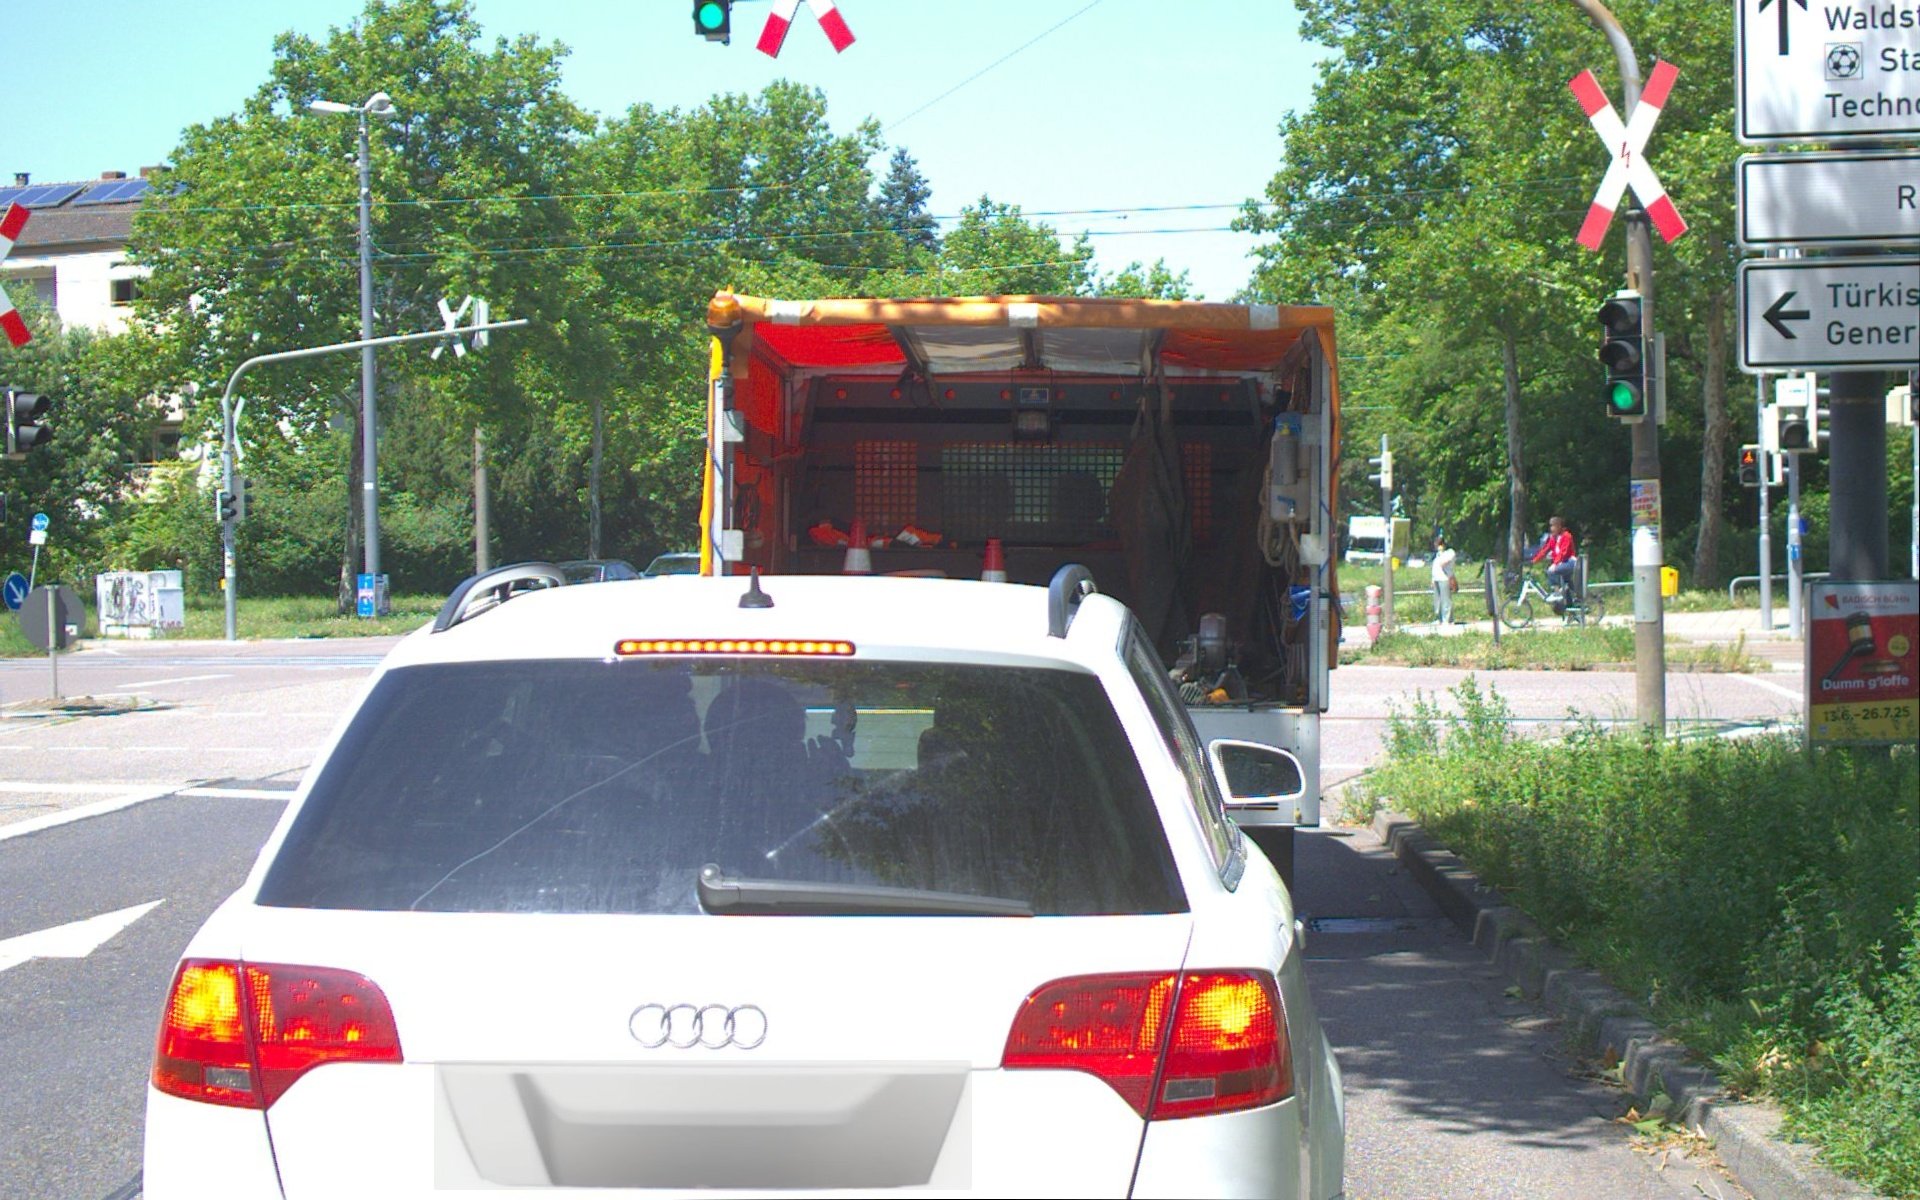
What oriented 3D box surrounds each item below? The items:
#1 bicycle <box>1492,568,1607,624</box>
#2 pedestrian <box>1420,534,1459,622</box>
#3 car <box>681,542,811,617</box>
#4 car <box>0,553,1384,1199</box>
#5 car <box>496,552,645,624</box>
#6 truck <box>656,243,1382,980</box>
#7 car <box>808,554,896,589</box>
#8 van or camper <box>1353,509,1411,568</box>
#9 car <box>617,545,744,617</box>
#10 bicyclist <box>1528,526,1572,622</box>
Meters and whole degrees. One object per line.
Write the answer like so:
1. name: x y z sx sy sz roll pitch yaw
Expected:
1. bicycle: 9.564 -0.070 55.819 1.806 0.892 0.589 0 0 8
2. pedestrian: 8.124 -0.374 58.287 0.553 1.479 0.629 -1 1 16
3. car: -4.575 -0.458 74.133 1.909 1.533 4.297 -1 1 8
4. car: -0.265 0.652 5.960 1.763 1.440 3.615 0 1 4
5. car: -8.286 -0.279 73.577 1.950 1.435 4.745 0 2 9
6. truck: 0.371 -0.008 15.860 2.511 2.551 7.603 1 1 3
7. car: -4.339 -1.165 139.134 1.884 1.388 3.994 0 1 26
8. van or camper: 24.527 -3.575 199.526 2.662 3.320 5.497 0 1 14
9. car: -6.531 -0.465 80.795 1.788 1.609 4.402 -1 1 12
10. bicyclist: 9.573 -0.424 55.815 0.671 1.551 0.579 0 0 7
